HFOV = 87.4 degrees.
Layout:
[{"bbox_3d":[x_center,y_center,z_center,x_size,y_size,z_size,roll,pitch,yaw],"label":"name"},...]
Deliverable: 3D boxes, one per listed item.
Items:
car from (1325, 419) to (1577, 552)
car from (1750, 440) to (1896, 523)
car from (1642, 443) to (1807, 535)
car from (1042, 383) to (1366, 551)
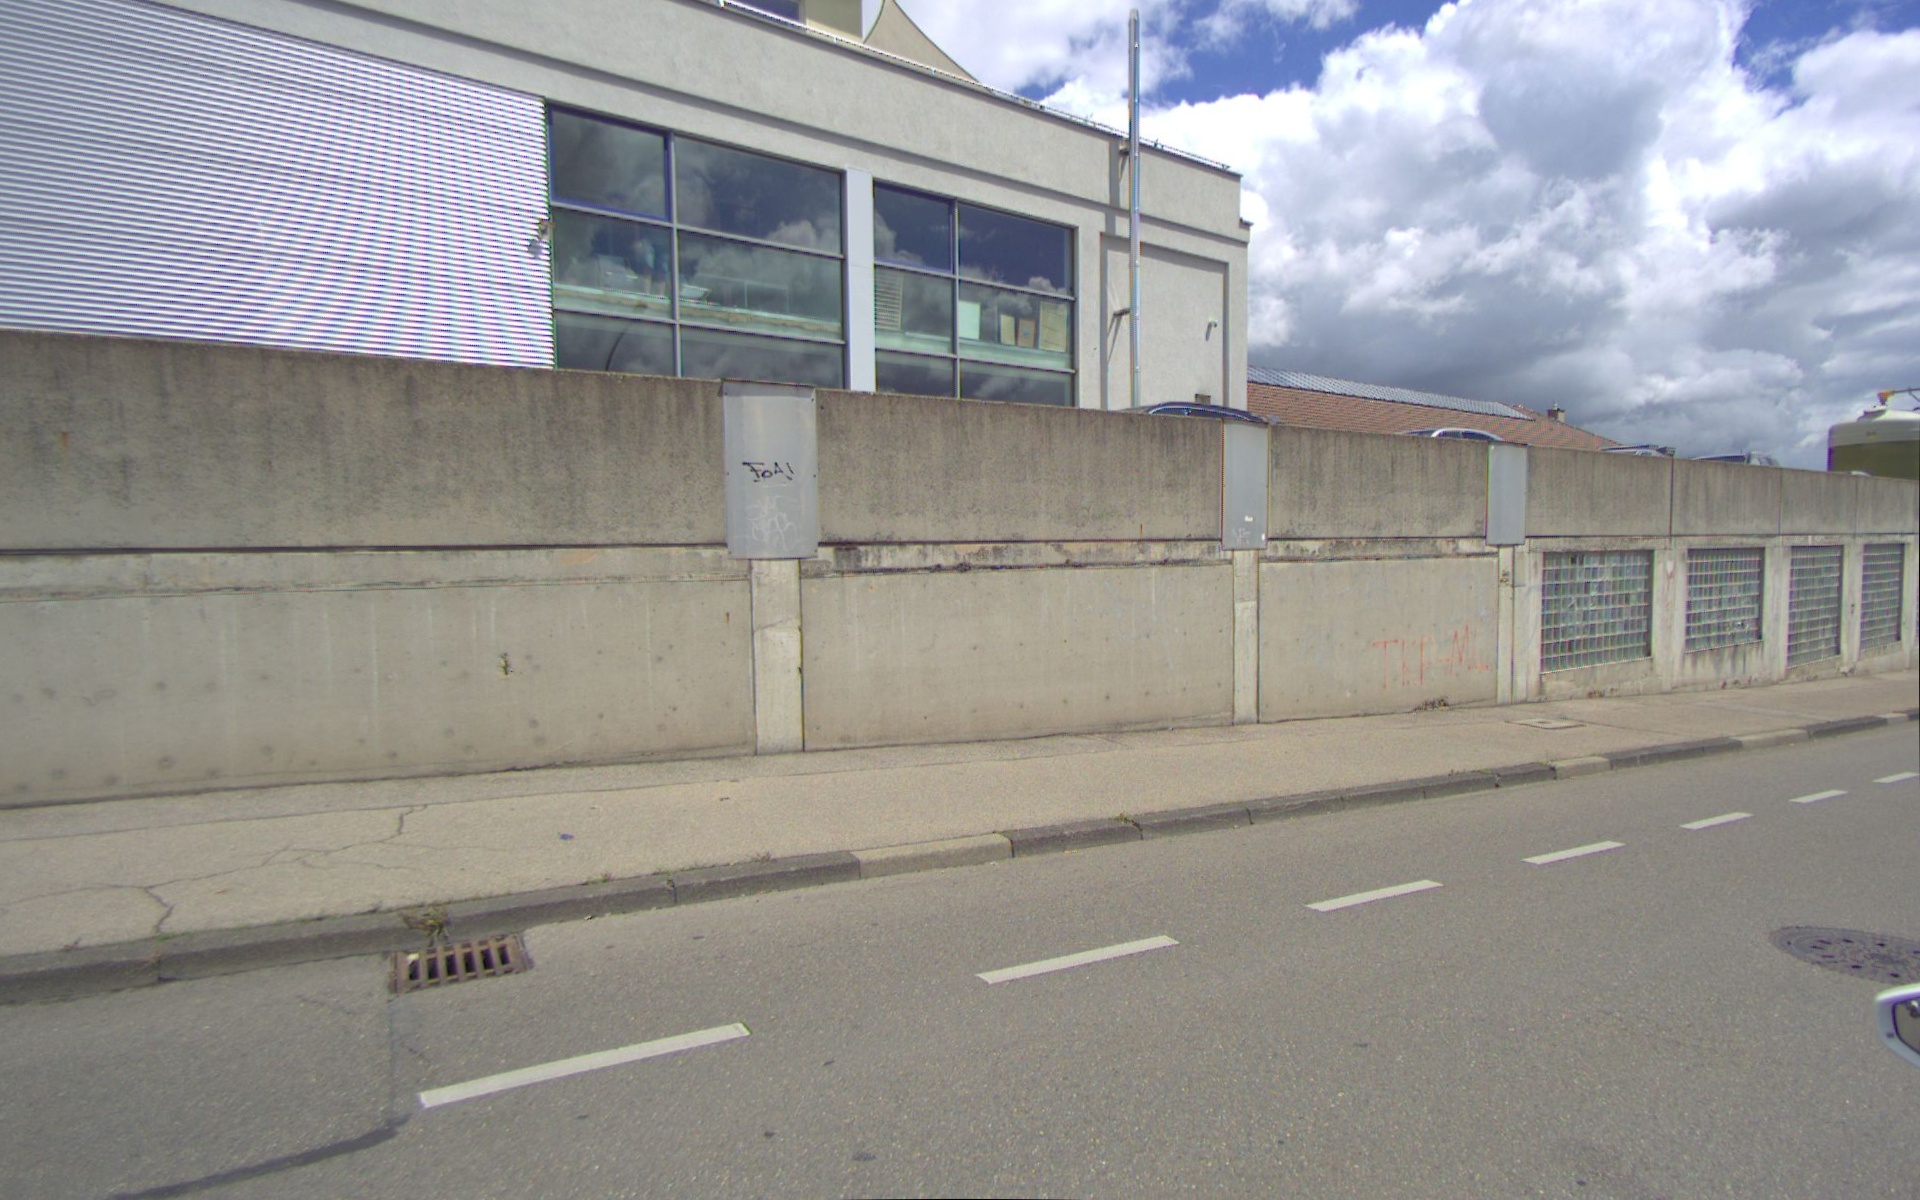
[{"bbox_3d":[7.831,-1.683,15.922,4.062,1.658,1.794,1,1,-35],"label":"car"},{"bbox_3d":[21.929,-2.928,25.494,4.062,1.658,1.794,1,1,-35],"label":"car"},{"bbox_3d":[17.504,-2.454,22.962,4.062,1.658,1.794,1,1,-35],"label":"car"},{"bbox_3d":[3.221,-1.556,12.995,4.062,1.658,1.794,1,1,-35],"label":"car"}]
